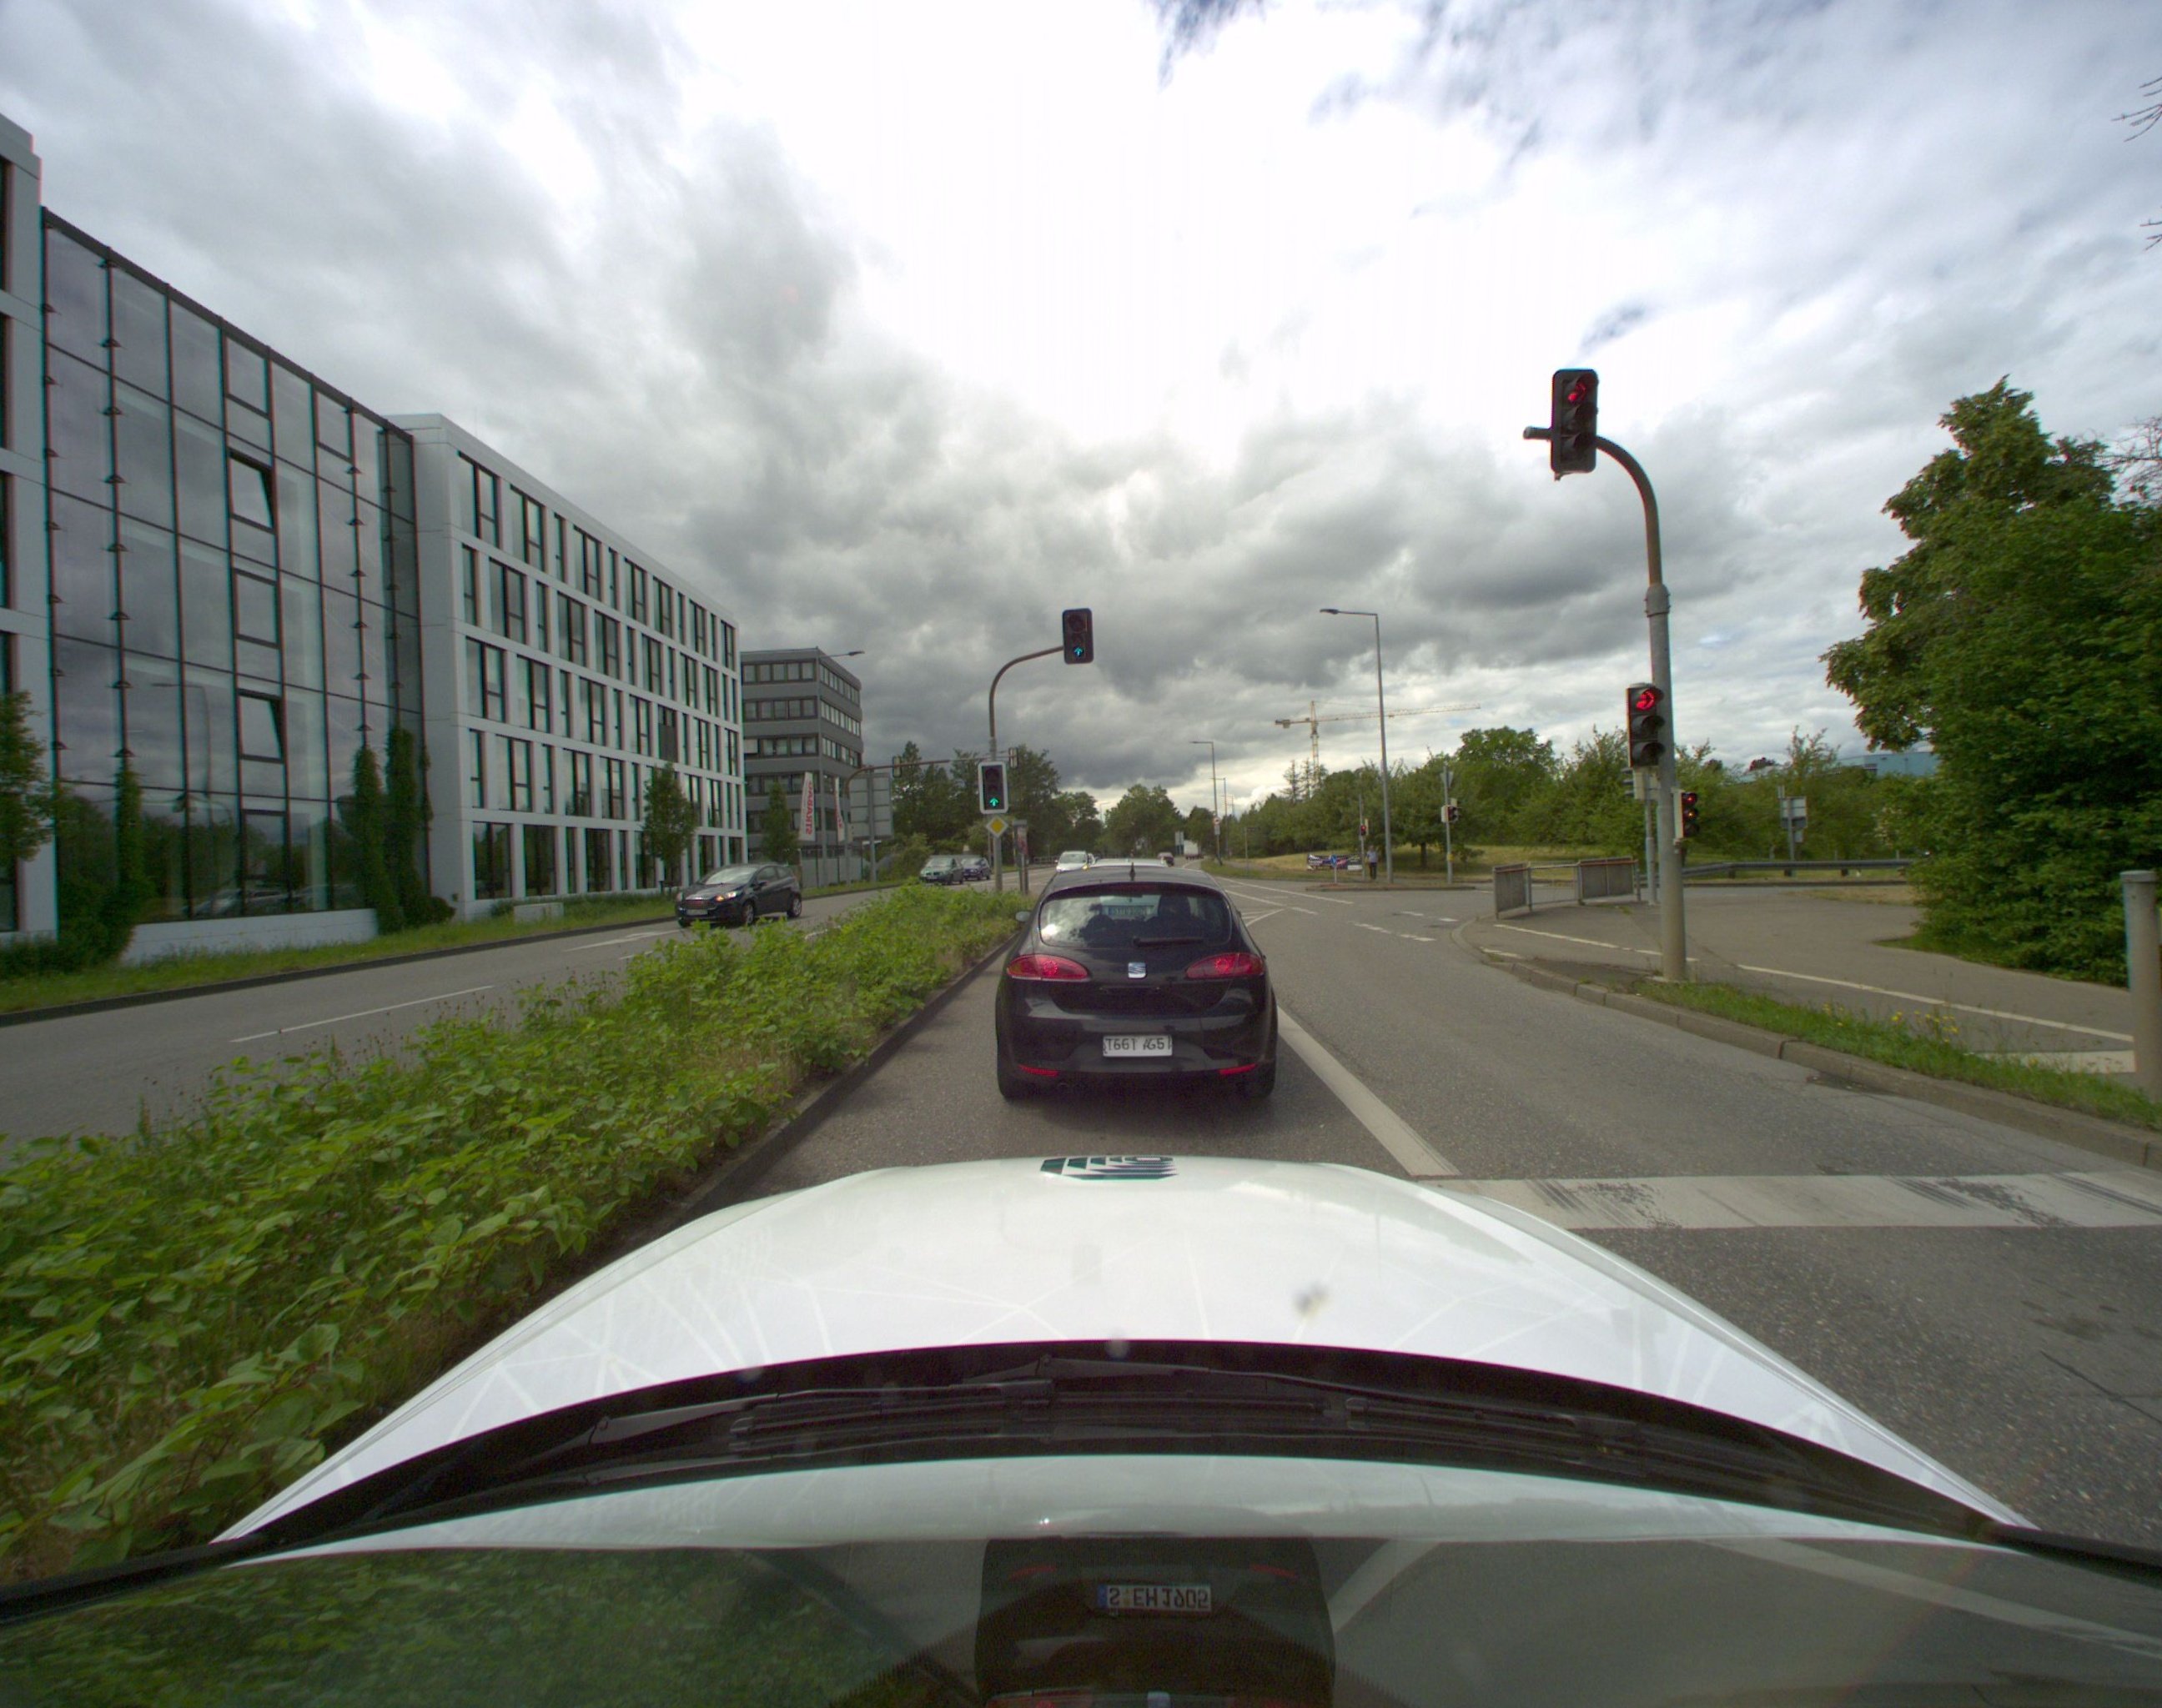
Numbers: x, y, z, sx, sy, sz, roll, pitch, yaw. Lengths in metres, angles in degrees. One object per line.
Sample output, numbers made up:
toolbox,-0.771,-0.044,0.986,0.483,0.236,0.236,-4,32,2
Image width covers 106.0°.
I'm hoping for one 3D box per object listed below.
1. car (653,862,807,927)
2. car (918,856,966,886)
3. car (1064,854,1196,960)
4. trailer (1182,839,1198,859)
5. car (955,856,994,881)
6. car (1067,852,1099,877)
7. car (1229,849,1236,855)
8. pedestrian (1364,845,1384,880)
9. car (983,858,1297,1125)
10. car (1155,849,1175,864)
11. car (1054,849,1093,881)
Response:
car,-8.474,0.922,20.087,1.745,1.446,3.899,0,0,7
car,-7.330,0.874,43.294,1.598,1.432,3.757,-1,0,4
car,0.786,0.755,13.213,1.827,1.467,3.754,0,0,3
trailer,17.670,-0.773,132.153,2.477,3.073,5.600,0,-1,9
car,-6.508,0.862,50.095,1.546,1.419,3.902,-1,0,5
car,0.158,0.645,51.957,1.652,1.518,4.091,-1,0,6
car,42.417,-0.479,228.116,1.656,1.596,4.013,-1,-1,12
pedestrian,15.098,0.422,41.967,0.714,1.793,1.045,0,-1,5
car,0.383,0.767,6.191,1.704,1.417,3.461,-1,0,2
car,9.008,0.262,87.527,1.984,1.565,4.478,-1,0,5
car,-0.359,0.602,45.929,1.812,1.686,4.650,0,0,4
